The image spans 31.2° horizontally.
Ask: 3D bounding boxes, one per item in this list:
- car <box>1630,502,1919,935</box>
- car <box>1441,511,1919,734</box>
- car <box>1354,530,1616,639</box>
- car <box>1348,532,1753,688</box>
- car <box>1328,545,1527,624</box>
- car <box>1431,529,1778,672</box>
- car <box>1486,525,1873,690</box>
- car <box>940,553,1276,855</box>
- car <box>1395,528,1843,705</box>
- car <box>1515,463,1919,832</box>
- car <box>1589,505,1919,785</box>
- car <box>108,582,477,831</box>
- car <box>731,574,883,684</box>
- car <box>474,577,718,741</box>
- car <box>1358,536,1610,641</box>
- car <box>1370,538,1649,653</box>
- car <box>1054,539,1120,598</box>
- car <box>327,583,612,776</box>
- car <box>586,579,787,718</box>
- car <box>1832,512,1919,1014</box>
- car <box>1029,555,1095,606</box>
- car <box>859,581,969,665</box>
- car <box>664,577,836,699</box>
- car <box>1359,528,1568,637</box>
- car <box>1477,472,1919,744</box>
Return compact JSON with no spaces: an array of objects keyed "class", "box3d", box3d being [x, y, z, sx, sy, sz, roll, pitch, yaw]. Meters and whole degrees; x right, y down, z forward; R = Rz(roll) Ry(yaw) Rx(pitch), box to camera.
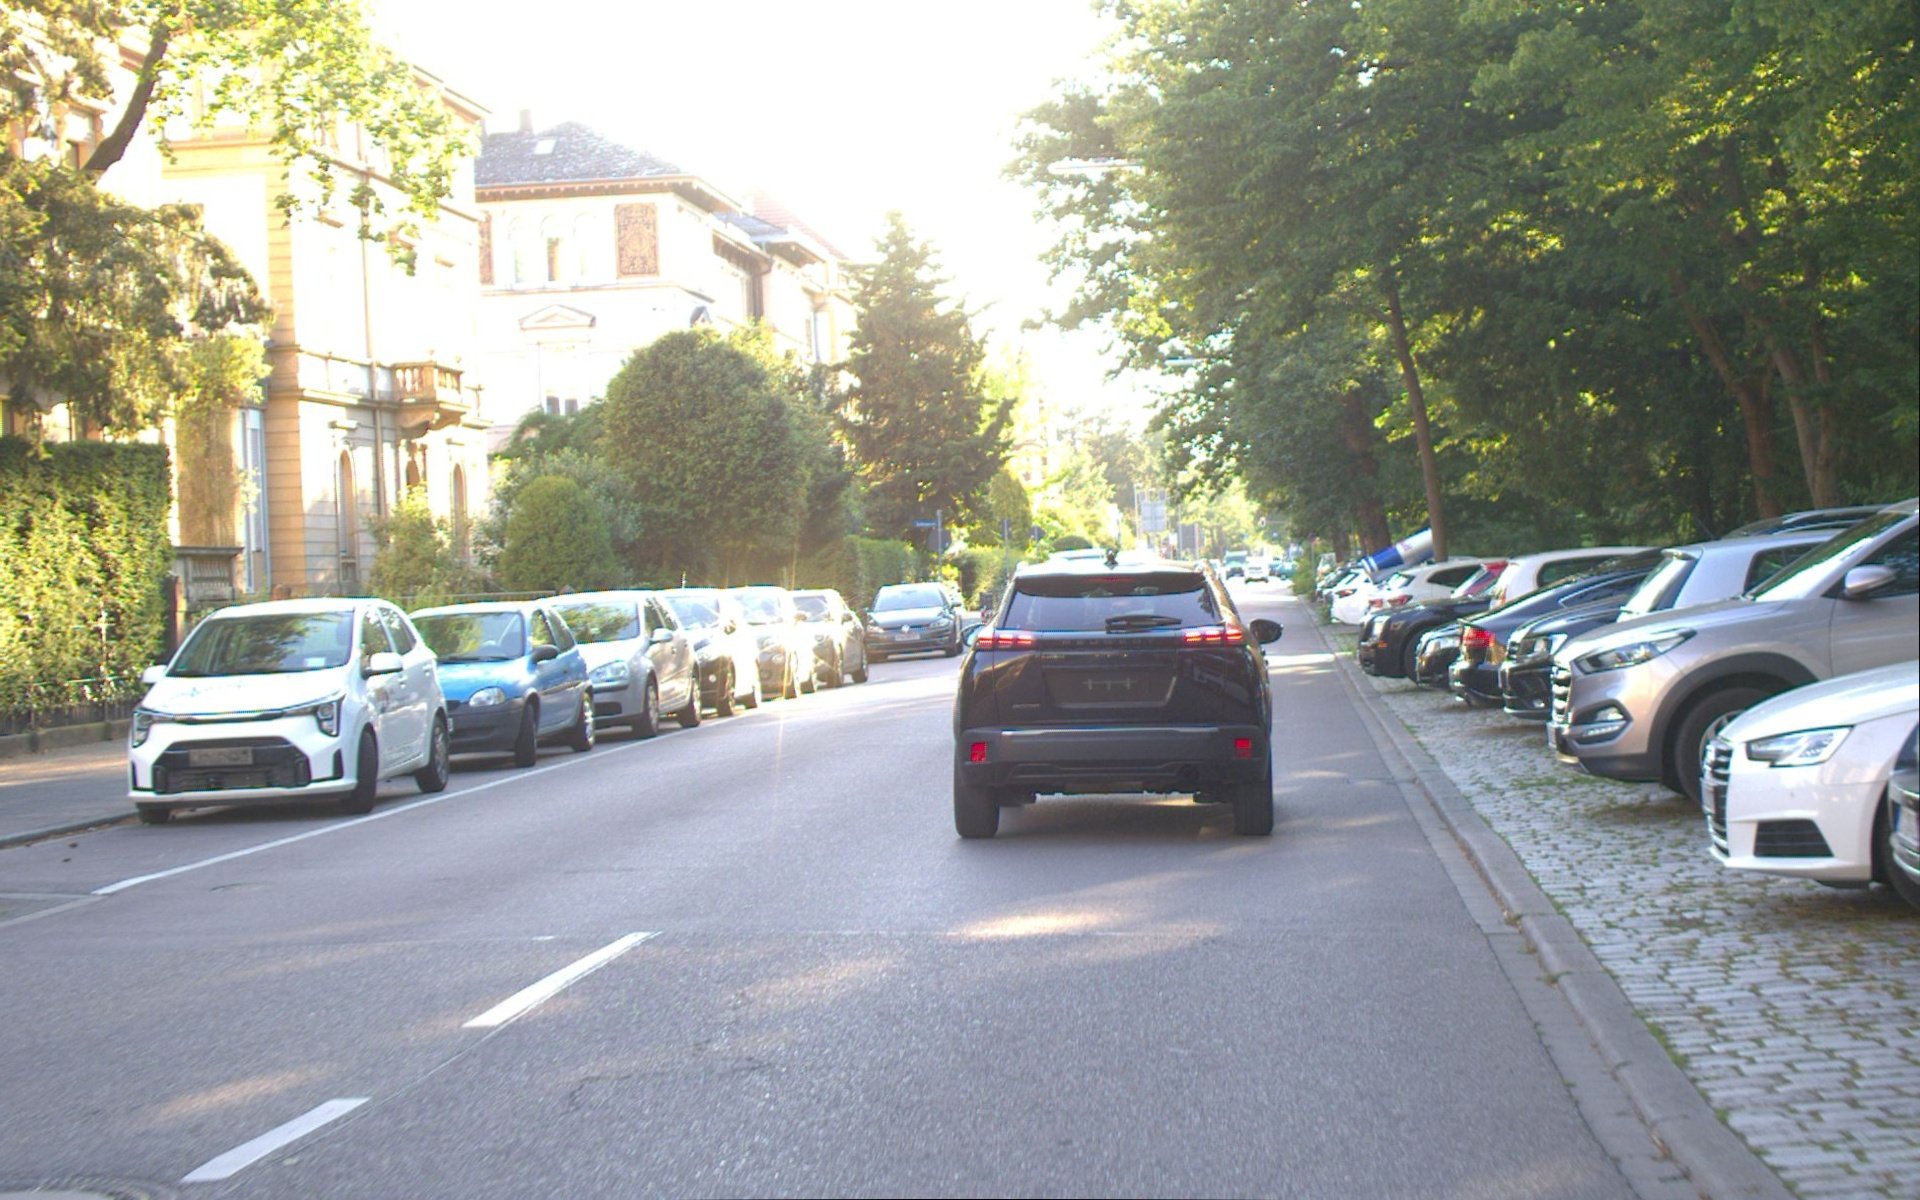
[{"class":"car","box3d":[5.095,0.358,13.509,4.484,1.549,1.857,-3,-1,0]},{"class":"car","box3d":[6.143,0.168,28.862,3.988,1.549,1.725,-4,0,5]},{"class":"car","box3d":[8.574,-0.259,56.399,3.987,1.619,1.758,-2,1,1]},{"class":"car","box3d":[6.633,0.103,38.991,4.243,1.444,2.021,-4,0,3]},{"class":"car","box3d":[9.956,-0.332,73.408,3.987,1.520,1.758,-2,1,1]},{"class":"car","box3d":[7.766,-0.005,41.692,3.808,1.444,1.877,-4,0,2]},{"class":"car","box3d":[7.504,0.068,36.184,3.809,1.444,1.825,-4,0,9]},{"class":"car","box3d":[0.826,0.524,20.252,1.771,1.563,4.109,0,1,1]},{"class":"car","box3d":[6.447,0.149,33.930,4.158,1.444,1.730,-4,0,9]},{"class":"car","box3d":[5.344,0.161,18.787,4.307,1.798,2.035,-4,0,5]},{"class":"car","box3d":[5.943,0.200,20.805,3.988,1.549,1.725,-3,0,5]},{"class":"car","box3d":[-4.672,0.696,24.567,1.614,1.510,3.712,-4,0,4]},{"class":"car","box3d":[-2.219,0.392,50.852,1.614,1.461,4.035,-3,0,6]},{"class":"car","box3d":[-3.634,0.555,34.949,1.614,1.461,4.035,-3,0,6]},{"class":"car","box3d":[8.909,-0.205,58.650,3.987,1.619,1.758,-2,1,1]},{"class":"car","box3d":[8.138,-0.073,51.147,3.808,1.444,1.826,-4,0,2]},{"class":"car","box3d":[4.545,-1.122,122.762,1.994,2.007,3.999,-2,1,6]},{"class":"car","box3d":[-4.238,0.648,30.212,1.614,1.480,3.741,-3,0,5]},{"class":"car","box3d":[-3.183,0.533,40.705,1.614,1.461,4.035,-3,0,6]},{"class":"car","box3d":[5.004,0.417,11.023,3.988,1.549,1.752,-3,2,5]},{"class":"car","box3d":[3.365,-0.642,112.520,1.900,1.568,3.999,-2,1,5]},{"class":"car","box3d":[-0.864,0.427,66.894,1.752,1.409,3.764,-4,1,4]},{"class":"car","box3d":[-2.766,0.478,46.031,1.614,1.461,4.035,-3,0,6]},{"class":"car","box3d":[10.315,-0.363,70.592,3.987,2.082,1.758,-2,1,1]},{"class":"car","box3d":[6.203,0.011,26.213,4.246,1.783,1.883,-4,0,5]}]
